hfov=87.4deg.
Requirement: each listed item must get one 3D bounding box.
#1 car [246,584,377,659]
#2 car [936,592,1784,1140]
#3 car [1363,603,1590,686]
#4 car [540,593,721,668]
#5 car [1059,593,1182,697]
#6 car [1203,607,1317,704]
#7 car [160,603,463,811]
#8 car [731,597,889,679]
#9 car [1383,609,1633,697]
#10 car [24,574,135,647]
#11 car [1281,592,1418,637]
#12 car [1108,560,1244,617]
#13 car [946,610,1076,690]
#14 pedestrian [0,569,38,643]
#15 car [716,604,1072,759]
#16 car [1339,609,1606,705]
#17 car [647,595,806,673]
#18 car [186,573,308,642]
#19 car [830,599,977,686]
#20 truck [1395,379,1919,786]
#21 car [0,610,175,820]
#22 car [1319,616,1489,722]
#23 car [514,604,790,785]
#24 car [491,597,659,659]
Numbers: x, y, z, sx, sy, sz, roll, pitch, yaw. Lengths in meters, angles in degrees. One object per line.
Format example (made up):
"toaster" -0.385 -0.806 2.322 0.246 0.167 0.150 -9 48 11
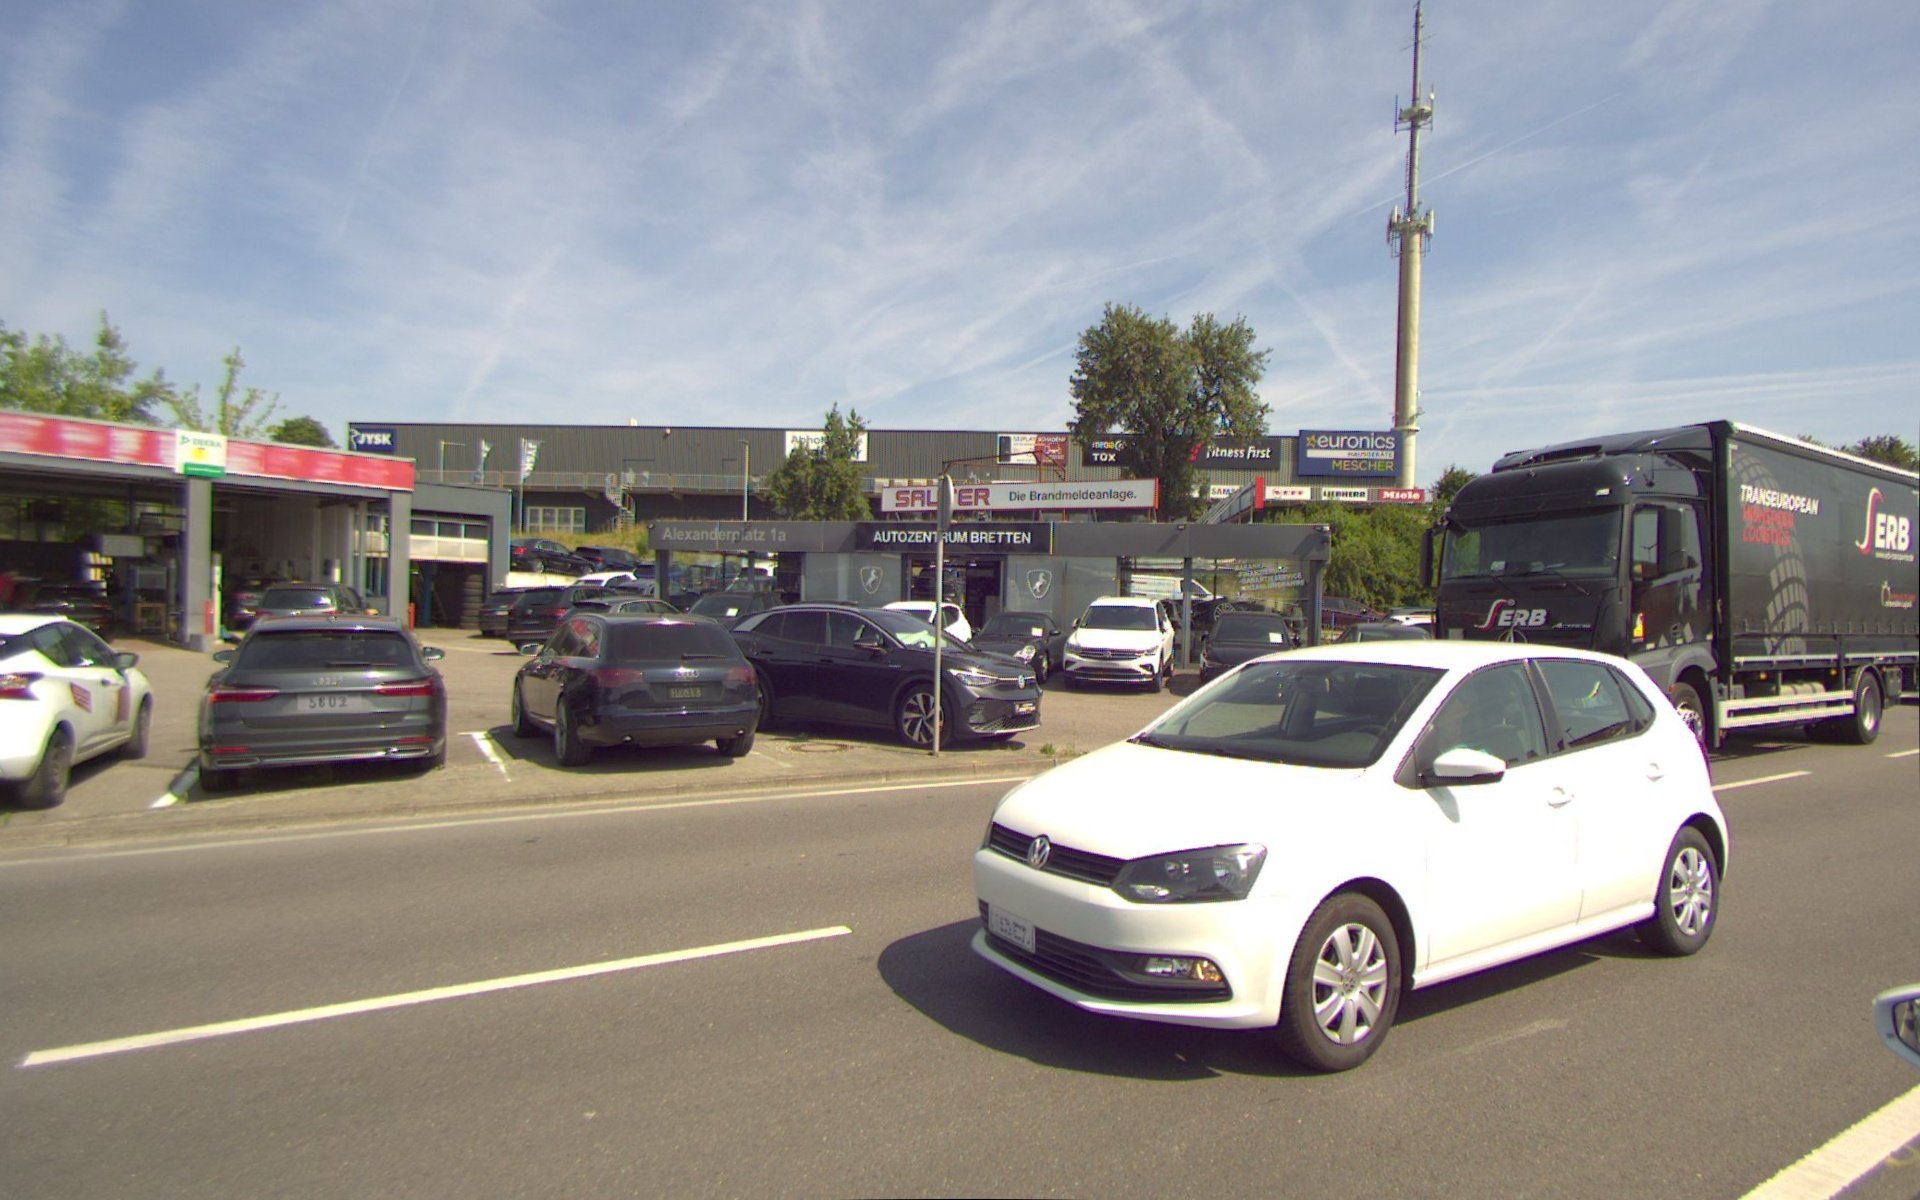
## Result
"car" -15.463 0.504 24.163 1.857 1.629 4.082 1 -1 -22
"car" 1.995 0.833 4.669 3.955 1.576 1.645 1 -3 -32
"car" 12.703 1.038 25.087 4.702 1.647 1.932 4 1 18
"car" -7.691 0.637 23.936 1.855 1.544 4.344 2 1 19
"car" 3.336 0.785 20.157 1.855 1.772 4.470 2 1 16
"car" 5.637 0.963 19.333 1.762 1.507 4.346 2 1 13
"car" -6.200 0.830 9.892 2.006 1.550 4.345 1 -1 -31
"car" -3.171 0.742 22.213 1.779 1.544 4.345 2 1 16
"car" 12.193 1.127 22.750 4.623 1.533 1.955 4 2 20
"car" -21.940 0.225 24.967 1.856 1.583 4.048 1 1 -44
"car" 15.562 0.561 40.384 4.874 1.438 1.950 4 0 16
"car" 9.170 -0.501 42.580 5.404 2.069 2.069 4 2 16
"car" 1.189 0.947 20.963 1.728 1.346 4.345 2 1 16
"pedestrian" -22.830 0.143 24.265 0.855 1.750 0.739 3 1 44
"car" -0.885 0.899 12.753 4.112 1.644 2.025 0 -1 33
"car" 10.455 1.091 20.799 4.628 1.495 1.890 4 2 27
"car" -5.258 0.698 23.181 1.774 1.544 4.099 2 1 16
"car" -20.379 0.206 28.662 4.038 1.831 1.744 0 -1 38
"car" -1.067 0.798 21.195 1.791 1.544 4.144 2 1 16
"truck" 10.172 -0.076 13.859 9.869 4.051 2.695 1 -1 -33
"car" -8.425 0.846 8.693 1.858 1.489 3.971 1 -1 -28
"car" 7.746 1.103 18.014 1.934 1.455 4.643 2 1 13
"car" -3.505 0.844 10.882 2.007 1.550 4.015 1 -1 -30
"car" -9.582 0.682 25.368 1.741 1.429 4.104 1 -1 19
